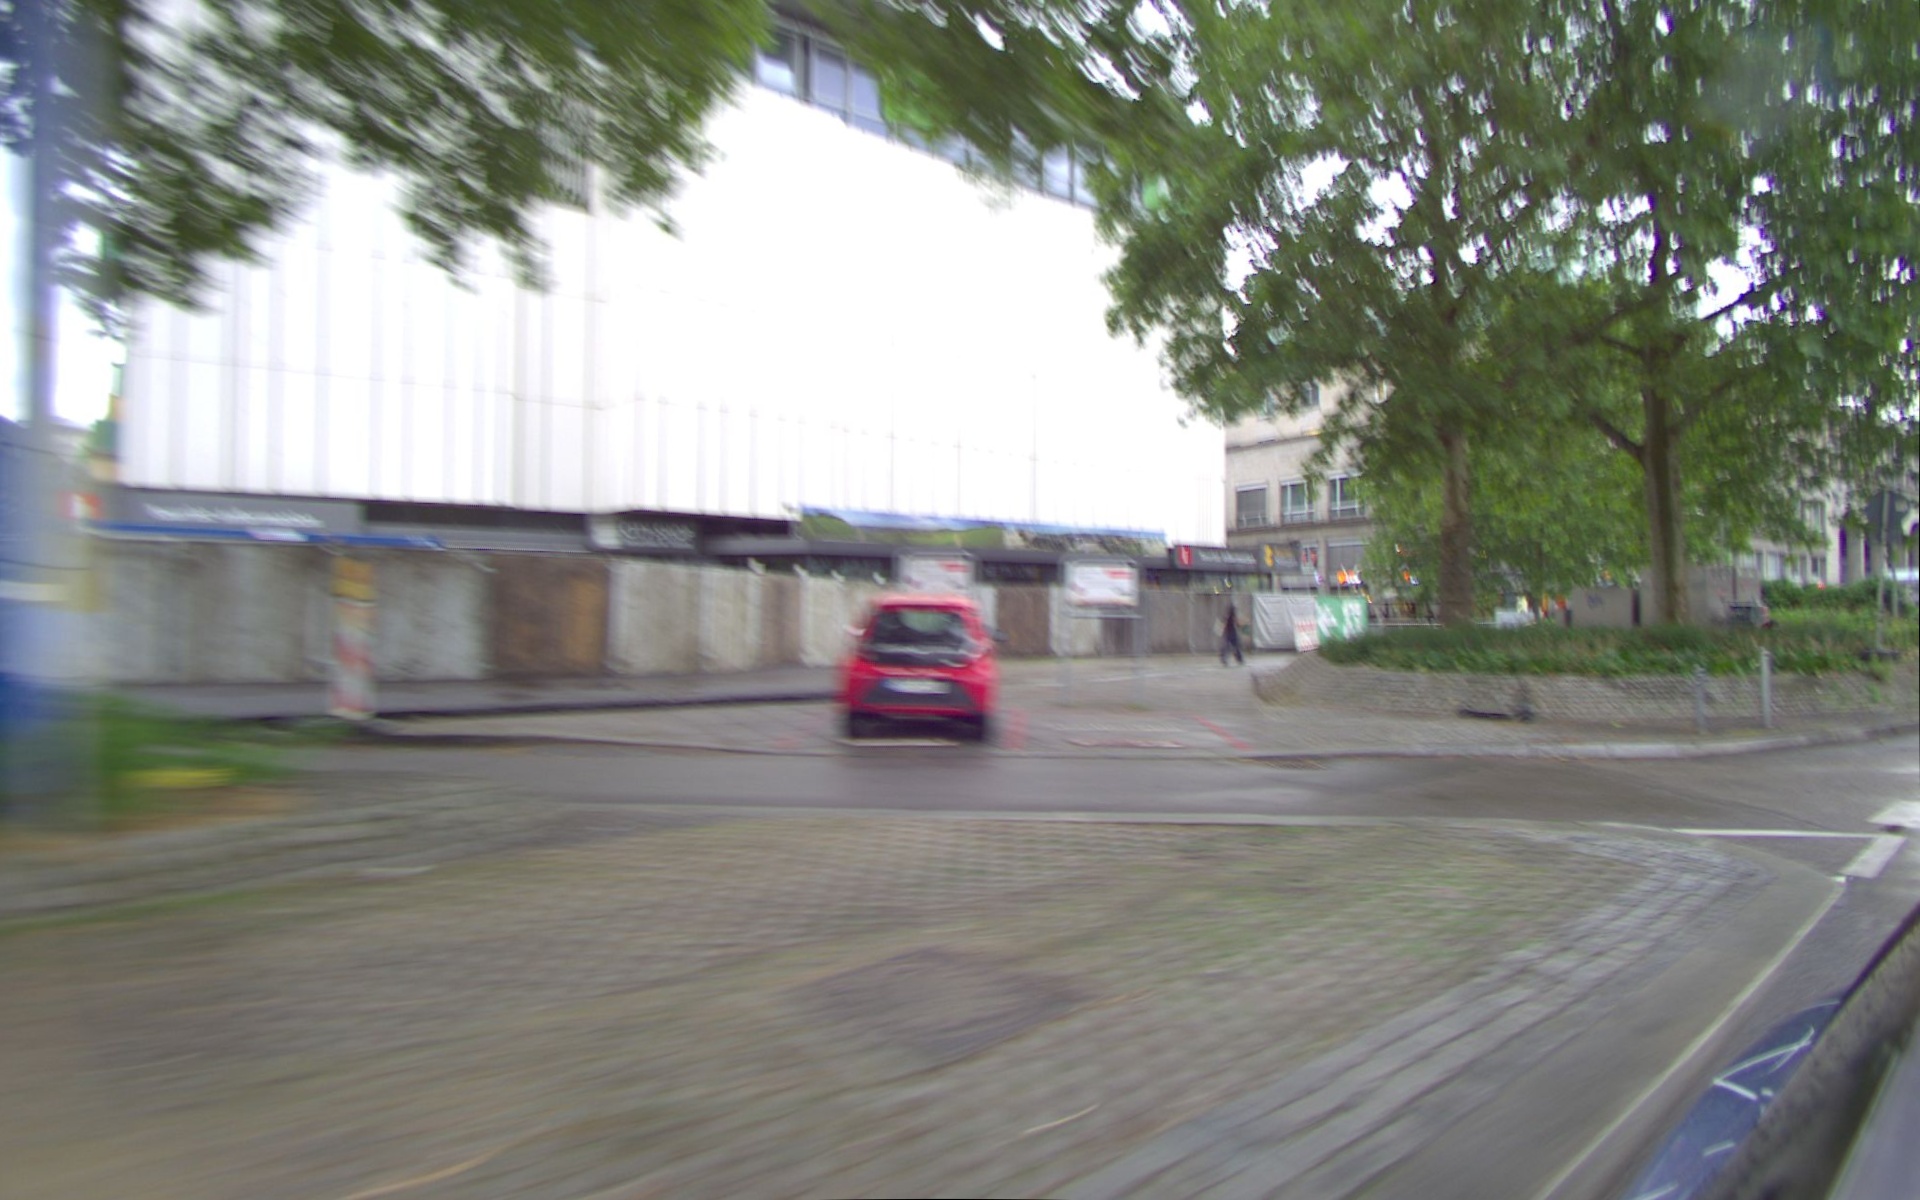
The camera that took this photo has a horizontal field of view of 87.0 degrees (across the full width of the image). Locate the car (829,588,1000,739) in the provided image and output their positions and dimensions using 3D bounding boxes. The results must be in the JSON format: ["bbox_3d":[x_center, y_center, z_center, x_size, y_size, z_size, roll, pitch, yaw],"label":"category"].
[{"bbox_3d":[-0.390,0.596,11.871,1.670,1.474,3.998,0,1,2],"label":"car"}]

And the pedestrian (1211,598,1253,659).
[{"bbox_3d":[7.004,0.714,26.039,0.820,1.512,0.678,0,0,-36],"label":"pedestrian"}]
